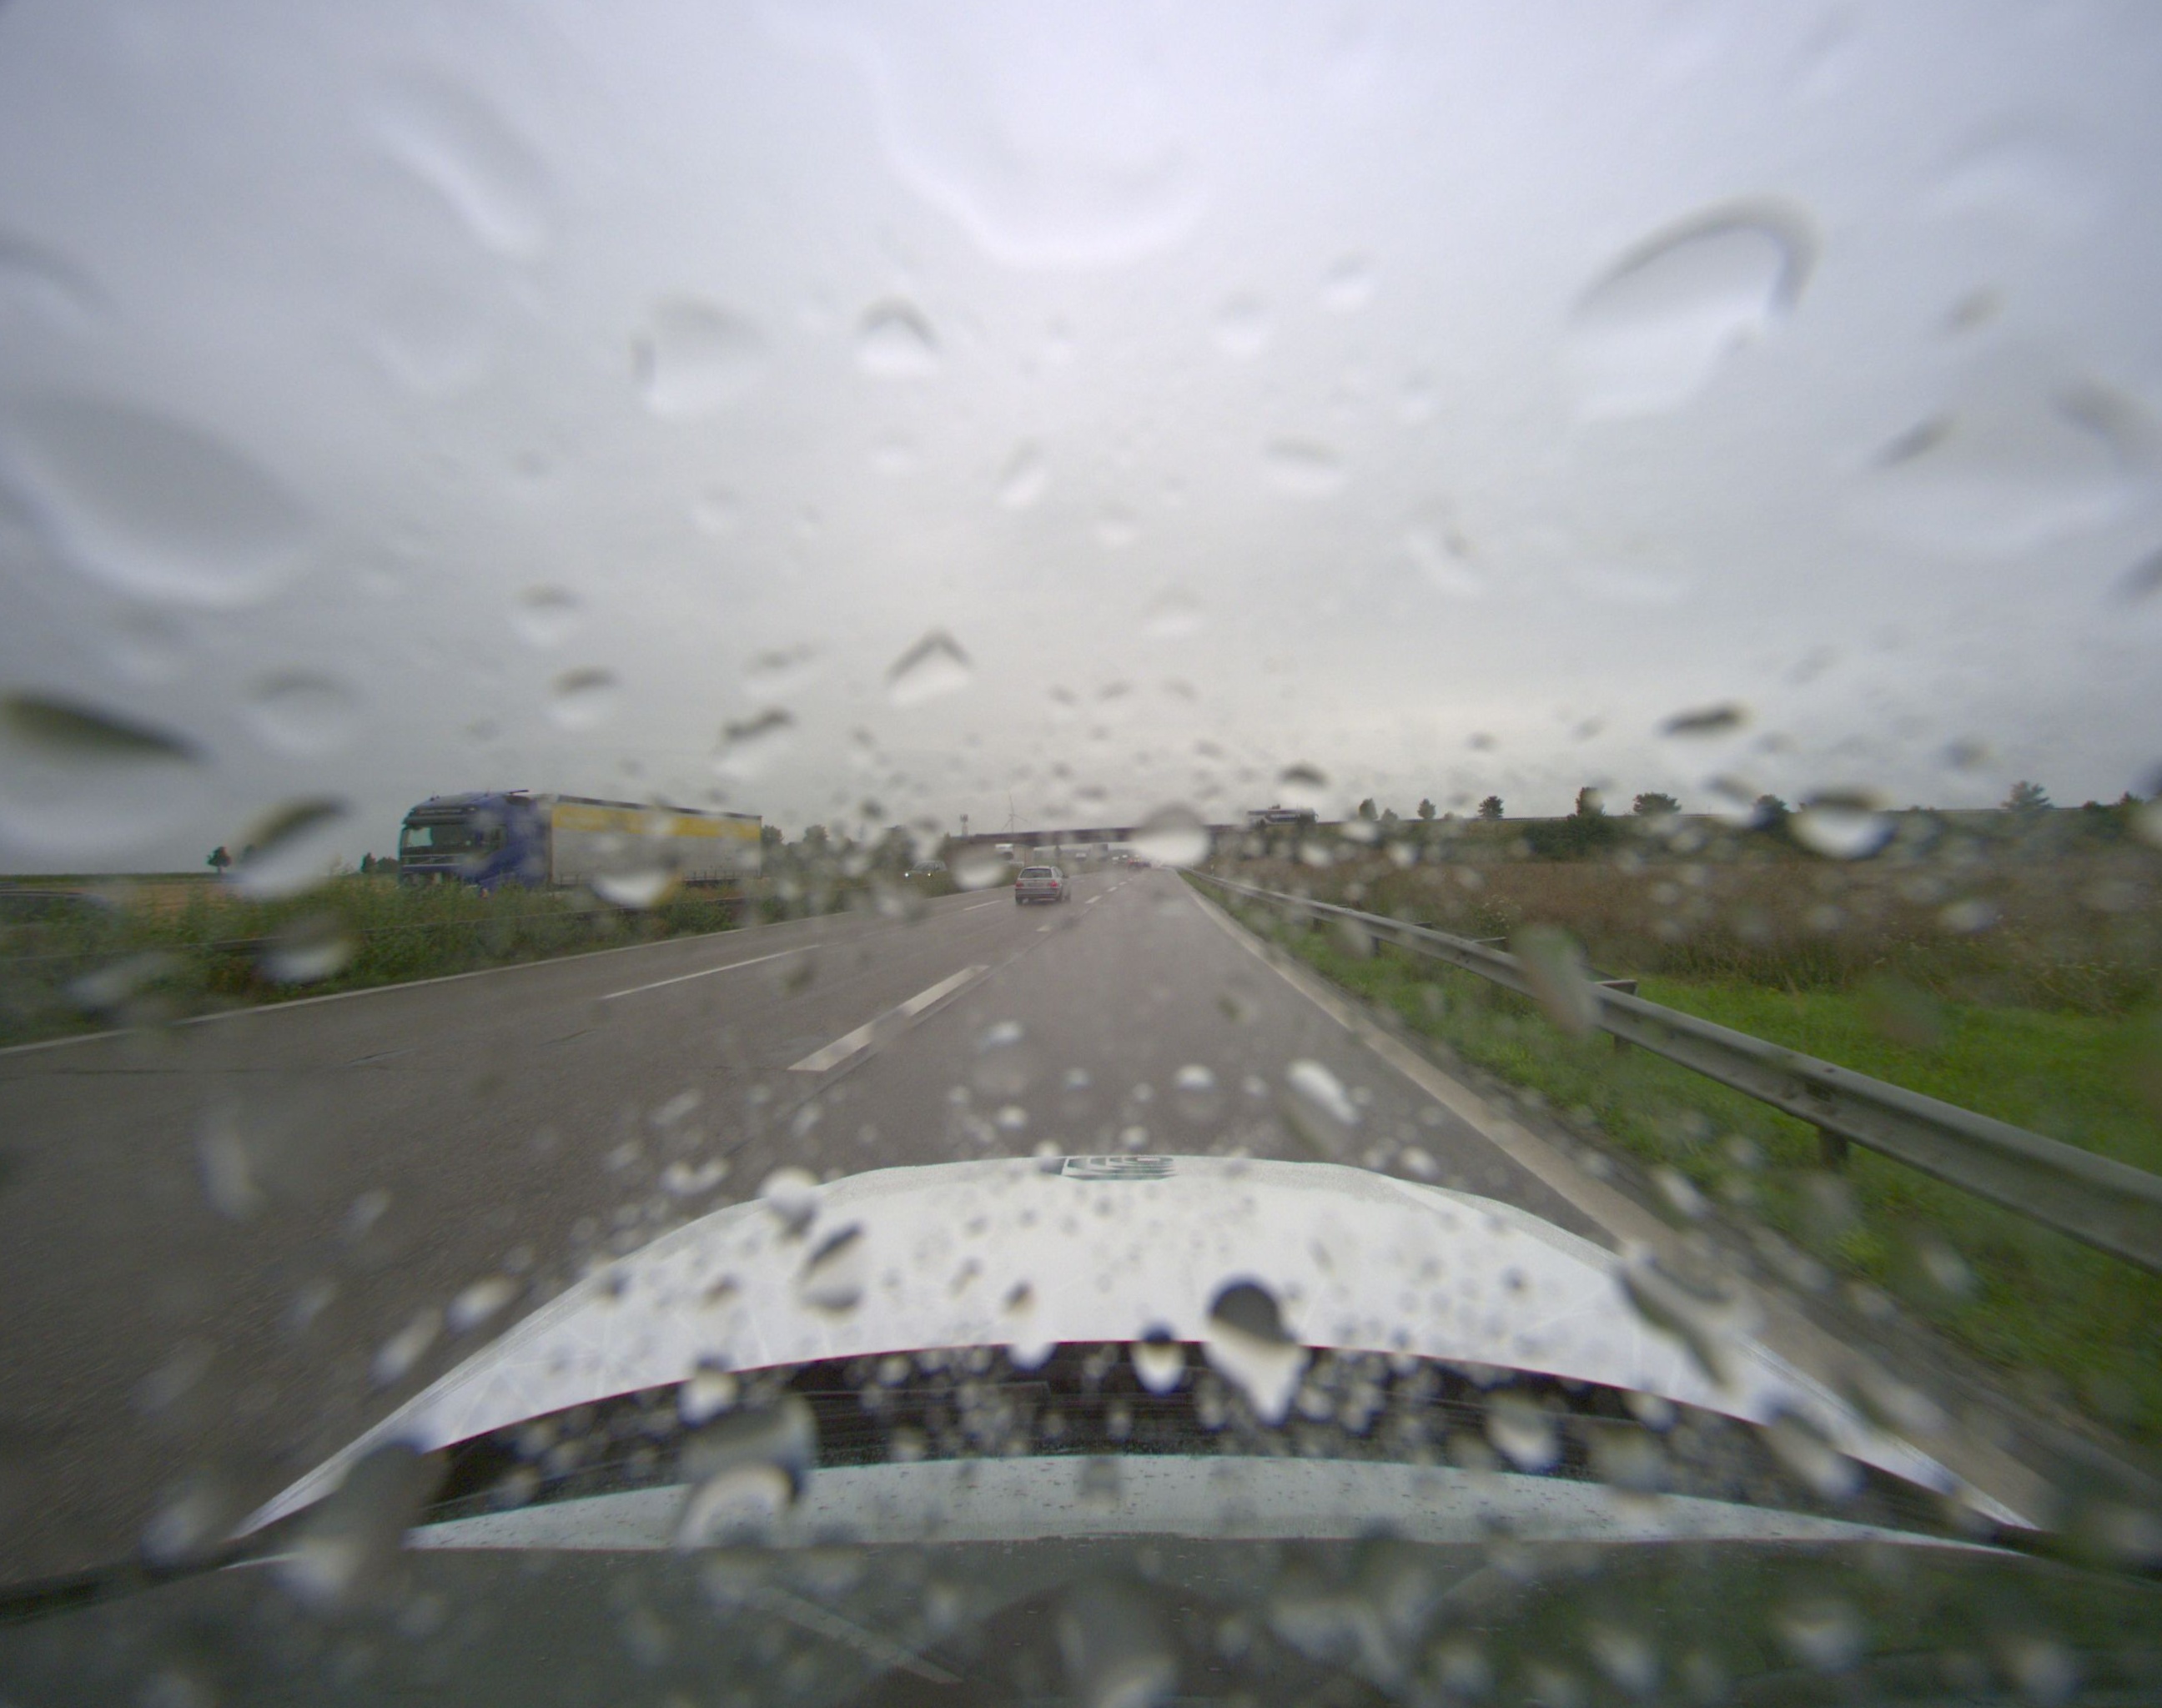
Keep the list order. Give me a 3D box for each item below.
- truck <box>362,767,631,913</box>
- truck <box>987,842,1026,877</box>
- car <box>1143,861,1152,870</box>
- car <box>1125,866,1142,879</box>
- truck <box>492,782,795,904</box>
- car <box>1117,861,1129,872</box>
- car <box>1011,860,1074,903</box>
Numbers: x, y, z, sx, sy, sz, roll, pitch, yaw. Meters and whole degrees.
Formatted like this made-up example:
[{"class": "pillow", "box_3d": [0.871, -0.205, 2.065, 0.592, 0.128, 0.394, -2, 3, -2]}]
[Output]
[{"class": "truck", "box_3d": [-17.918, -0.372, 25.723, 3.179, 3.967, 6.672, 1, -1, 5]}, {"class": "truck", "box_3d": [-9.801, 0.766, 108.196, 3.213, 4.385, 10.529, -2, -1, 5]}, {"class": "car", "box_3d": [15.399, 2.585, 187.549, 1.984, 1.697, 4.006, -3, 1, 5]}, {"class": "car", "box_3d": [7.053, 2.502, 108.479, 2.135, 1.636, 4.601, 0, -1, 5]}, {"class": "truck", "box_3d": [-17.078, -0.289, 34.401, 3.178, 3.967, 15.340, 1, 0, 5]}, {"class": "car", "box_3d": [8.084, 2.377, 155.965, 1.984, 1.749, 4.006, -3, 1, 5]}, {"class": "car", "box_3d": [-1.422, 1.035, 31.956, 1.865, 1.488, 4.801, -2, -1, 4]}]
